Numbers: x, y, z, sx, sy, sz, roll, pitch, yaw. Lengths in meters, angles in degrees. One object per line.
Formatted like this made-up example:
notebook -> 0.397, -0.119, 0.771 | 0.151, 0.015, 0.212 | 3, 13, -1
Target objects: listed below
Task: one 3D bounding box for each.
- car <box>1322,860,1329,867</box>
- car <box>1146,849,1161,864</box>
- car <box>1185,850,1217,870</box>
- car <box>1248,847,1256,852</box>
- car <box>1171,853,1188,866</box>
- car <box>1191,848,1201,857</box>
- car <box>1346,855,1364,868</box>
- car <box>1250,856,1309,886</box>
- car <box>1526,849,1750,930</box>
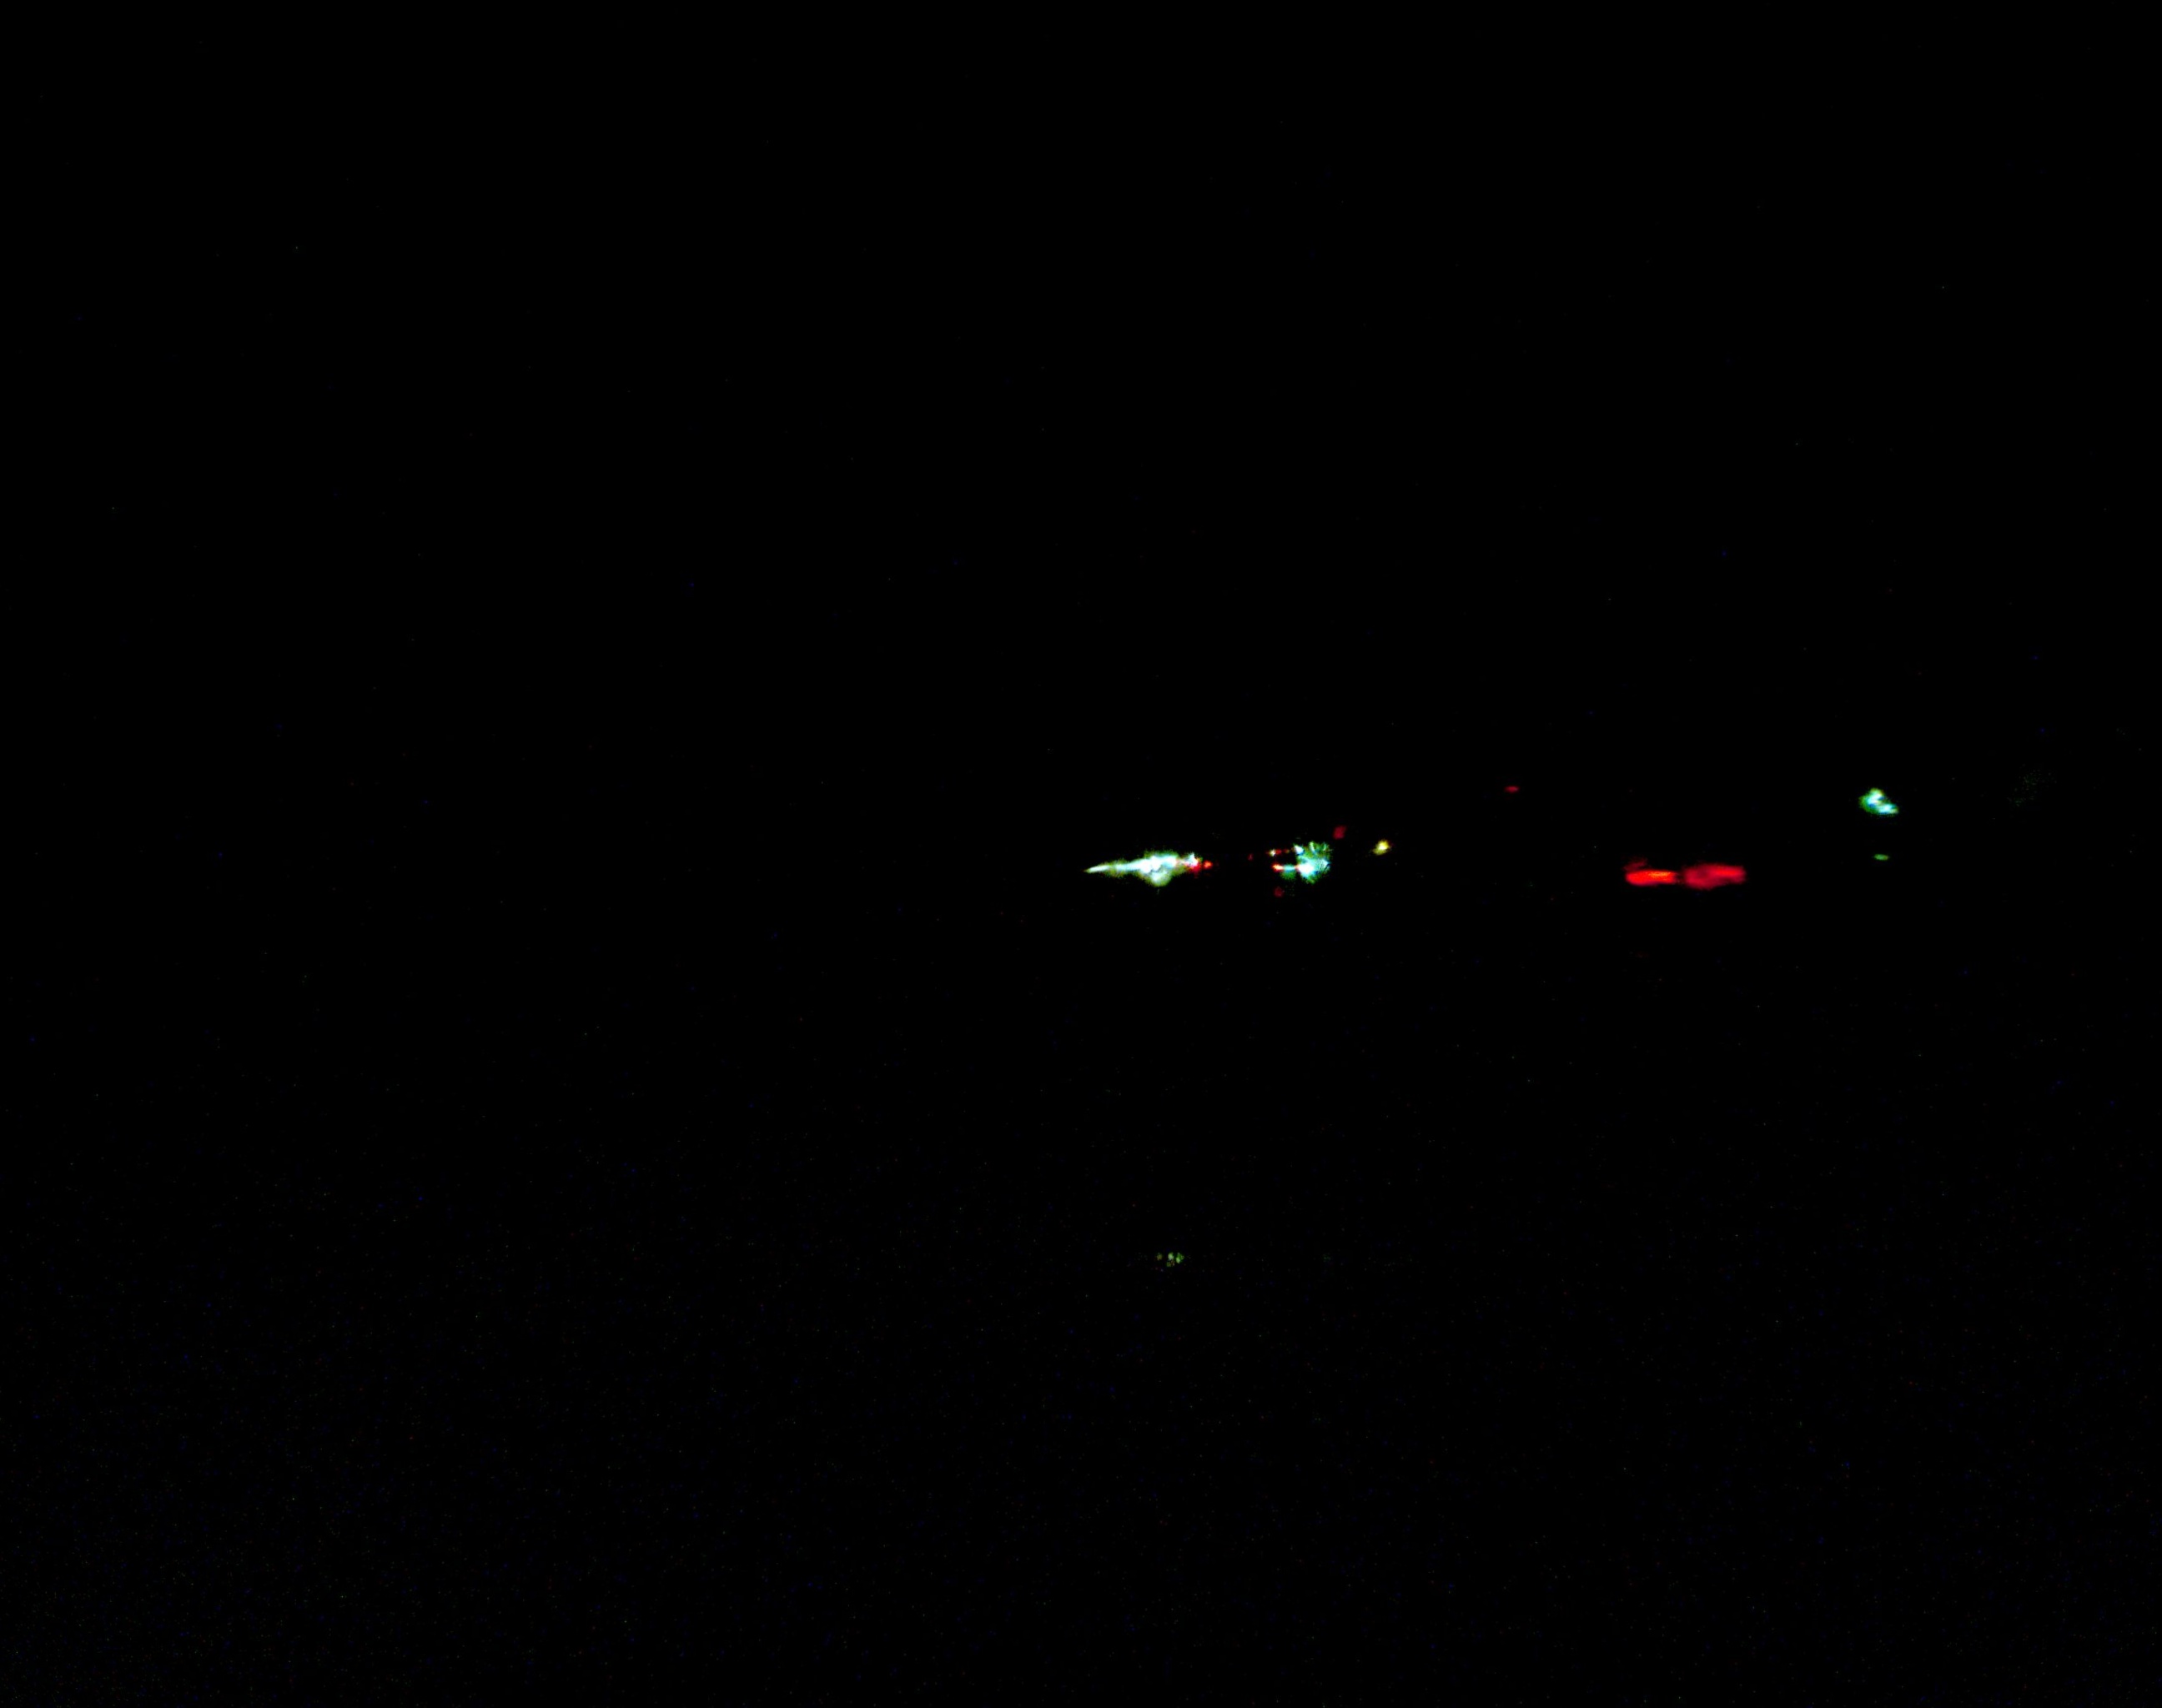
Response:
car -> 67.143, 2.586, 208.585 | 1.810, 1.561, 4.298 | -2, 0, 20
car -> 10.376, 0.307, 108.649 | 1.998, 2.002, 4.001 | -2, 0, 6
car -> 11.347, 0.552, 72.180 | 2.204, 1.735, 4.524 | -2, 0, -1
car -> 54.050, -1.392, 239.905 | 1.996, 1.604, 4.618 | -2, 0, 19
car -> 12.427, 0.697, 96.167 | 1.885, 1.591, 3.901 | -2, 0, 5
car -> 27.966, -0.403, 184.914 | 1.996, 2.002, 4.004 | -2, 0, 15
car -> 45.401, 1.280, 126.007 | 1.997, 2.002, 4.002 | -2, 0, 7
car -> 10.708, 0.876, 41.384 | 1.837, 1.433, 4.489 | -2, 0, -2
car -> 11.517, 0.664, 16.084 | 1.795, 1.433, 3.855 | -2, 0, -2
